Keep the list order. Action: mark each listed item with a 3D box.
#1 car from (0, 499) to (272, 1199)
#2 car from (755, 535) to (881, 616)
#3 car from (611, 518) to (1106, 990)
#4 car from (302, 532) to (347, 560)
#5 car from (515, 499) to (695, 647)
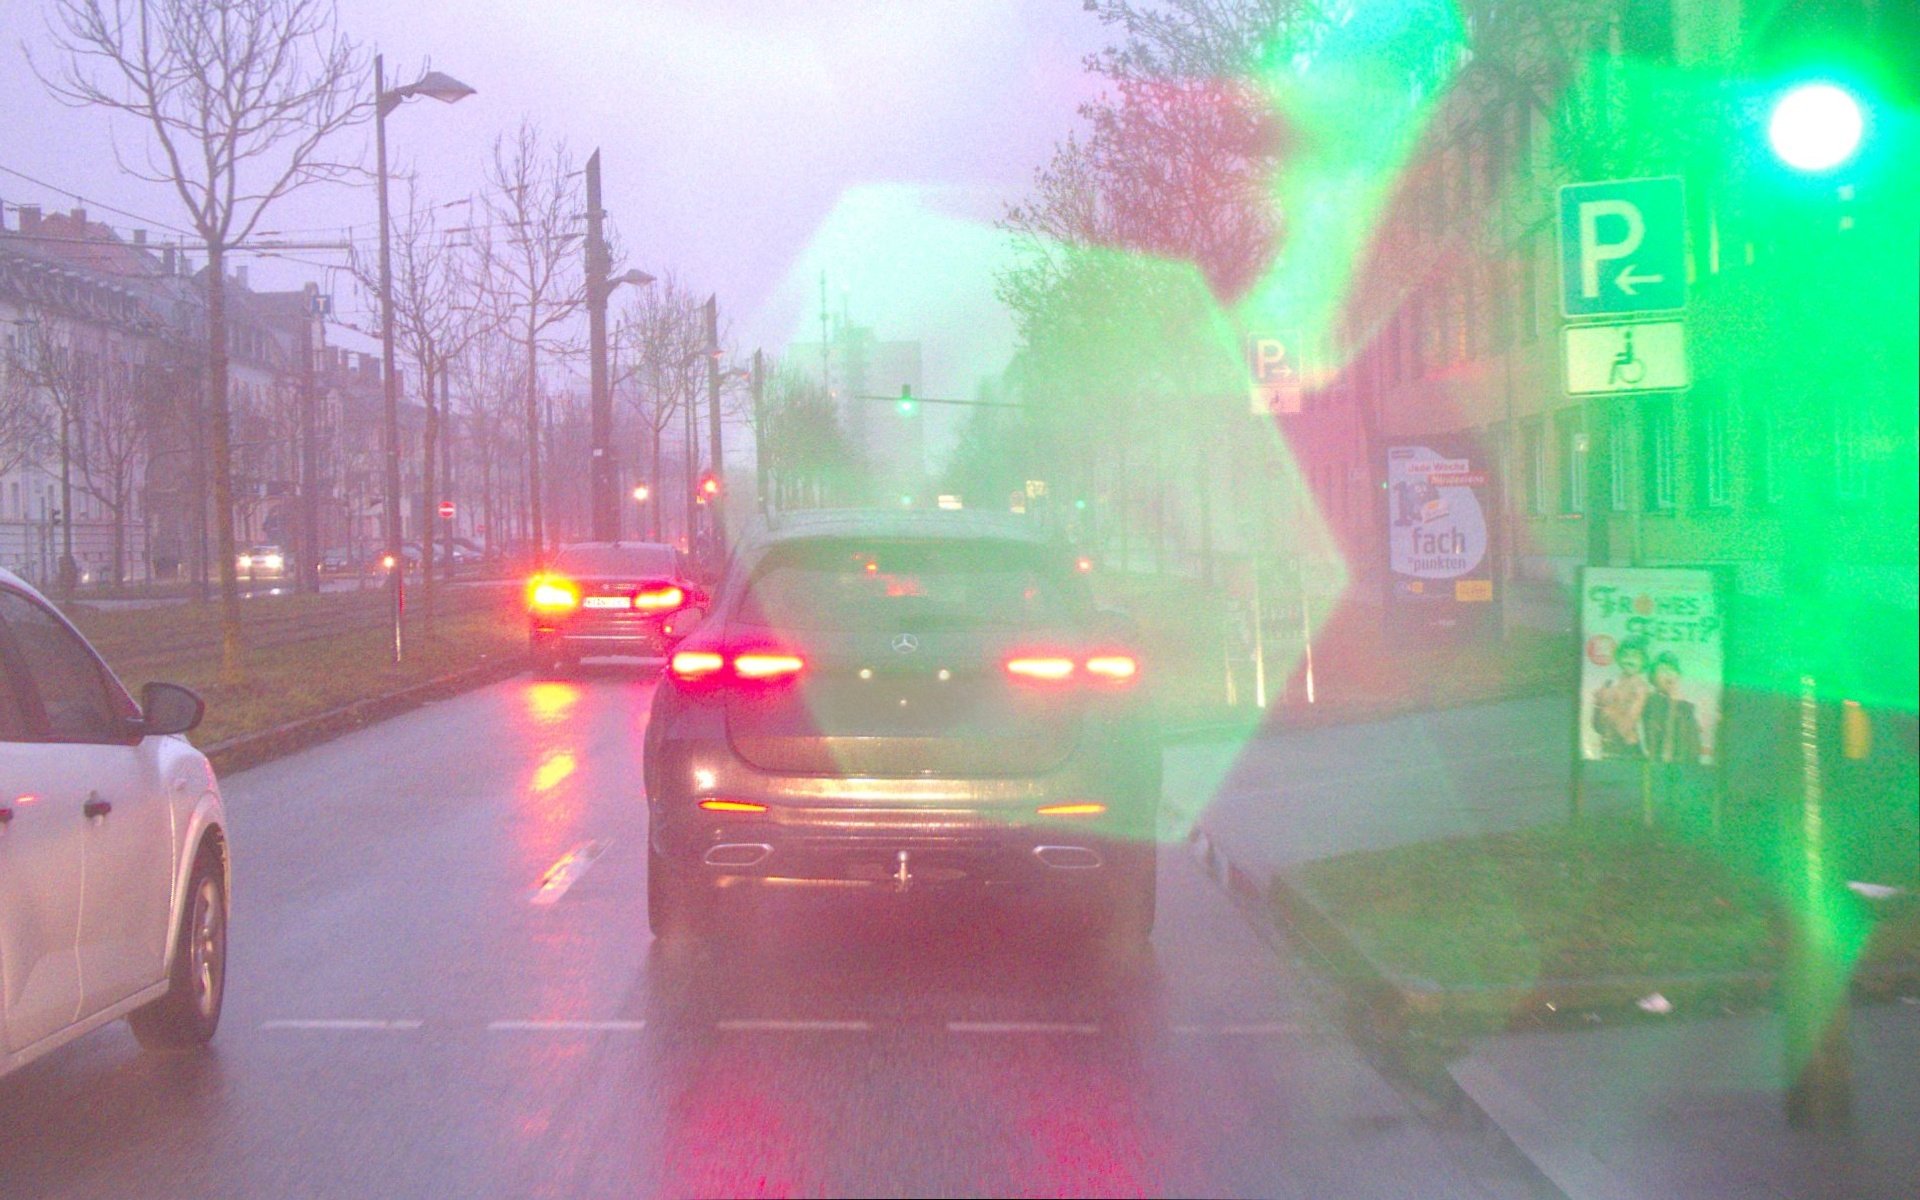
[{"bbox_3d":[-2.967,0.556,8.674,1.672,1.594,4.054,0,1,0],"label":"car"},{"bbox_3d":[-2.422,-0.446,59.395,1.993,1.294,3.479,-2,1,0],"label":"car"},{"bbox_3d":[-0.357,0.485,13.681,1.672,1.594,4.054,0,1,0],"label":"car"},{"bbox_3d":[-33.517,-2.859,181.386,1.776,1.349,3.557,-2,2,-2],"label":"car"},{"bbox_3d":[-4.009,-0.329,39.354,1.672,1.594,4.054,0,1,0],"label":"car"}]
